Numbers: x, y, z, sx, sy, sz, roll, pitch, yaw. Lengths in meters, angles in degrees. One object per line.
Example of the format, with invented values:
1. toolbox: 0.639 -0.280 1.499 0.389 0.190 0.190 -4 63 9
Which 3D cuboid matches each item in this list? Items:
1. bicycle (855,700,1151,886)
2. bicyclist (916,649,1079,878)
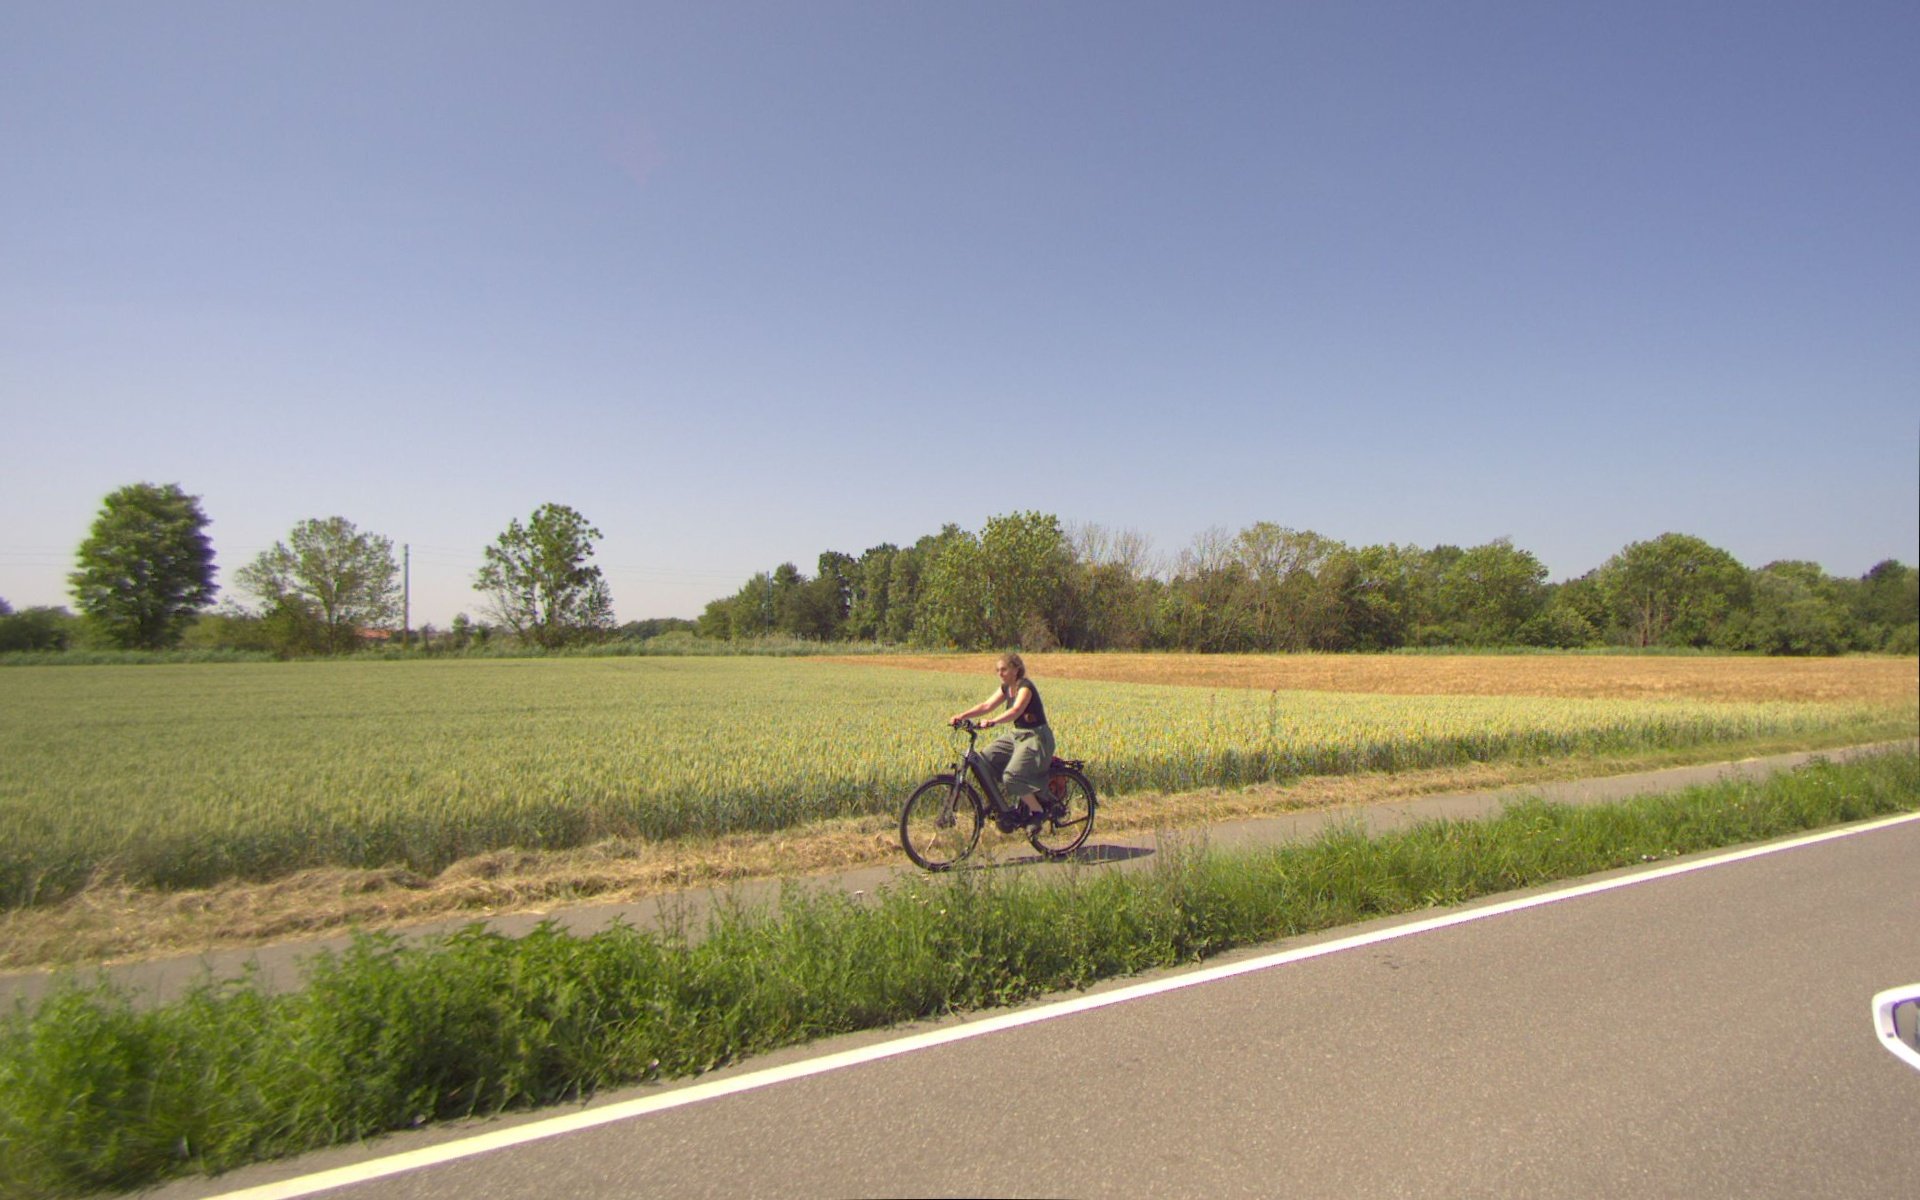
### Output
1. bicycle: 0.381 1.472 8.140 2.366 1.252 0.756 2 -4 -30
2. bicyclist: 0.290 1.249 8.076 1.076 1.694 0.756 2 -4 -30
